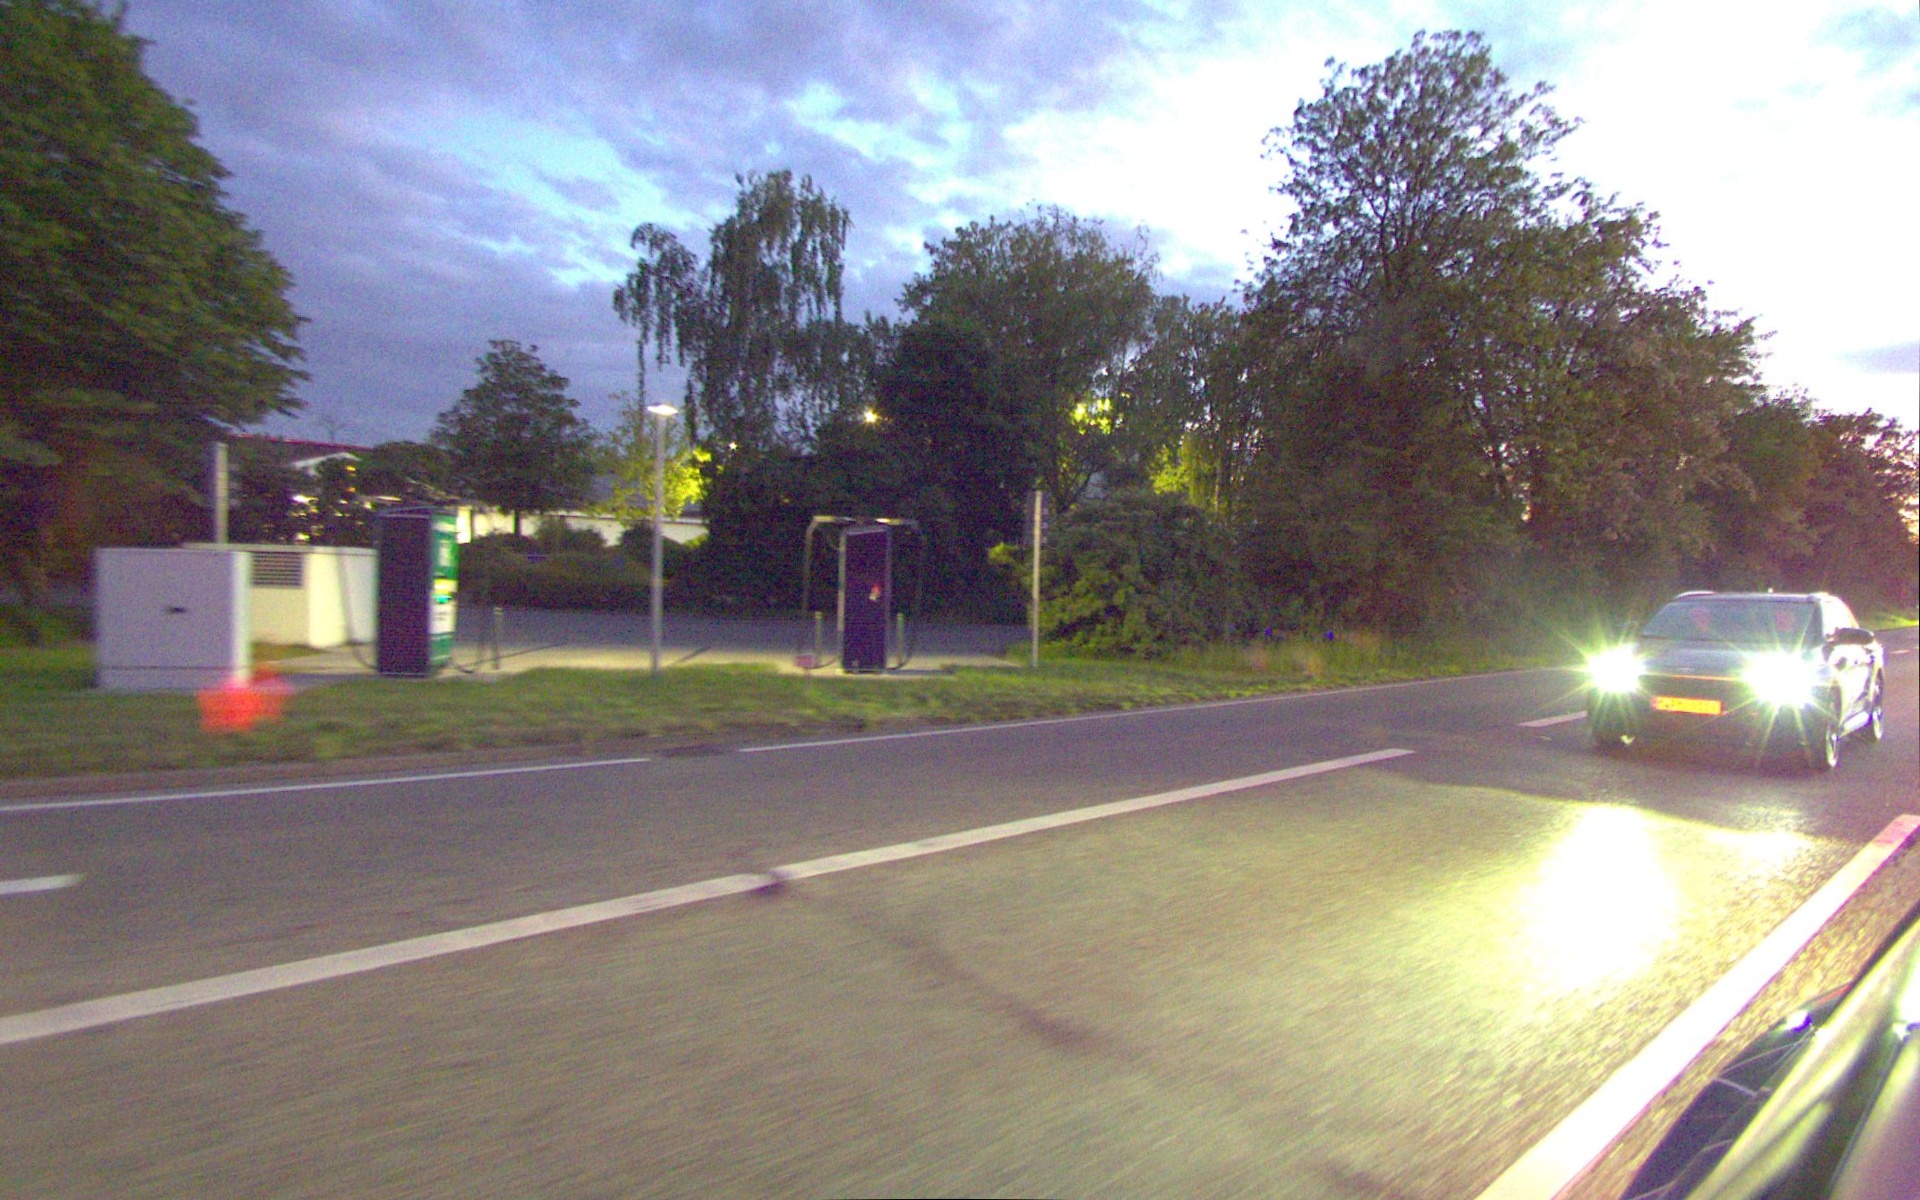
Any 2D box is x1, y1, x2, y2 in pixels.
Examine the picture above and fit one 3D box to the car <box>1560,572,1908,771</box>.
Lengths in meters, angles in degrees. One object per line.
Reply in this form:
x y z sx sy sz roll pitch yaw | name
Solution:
8.196 0.571 10.548 4.629 1.630 1.997 0 0 -41 | car
